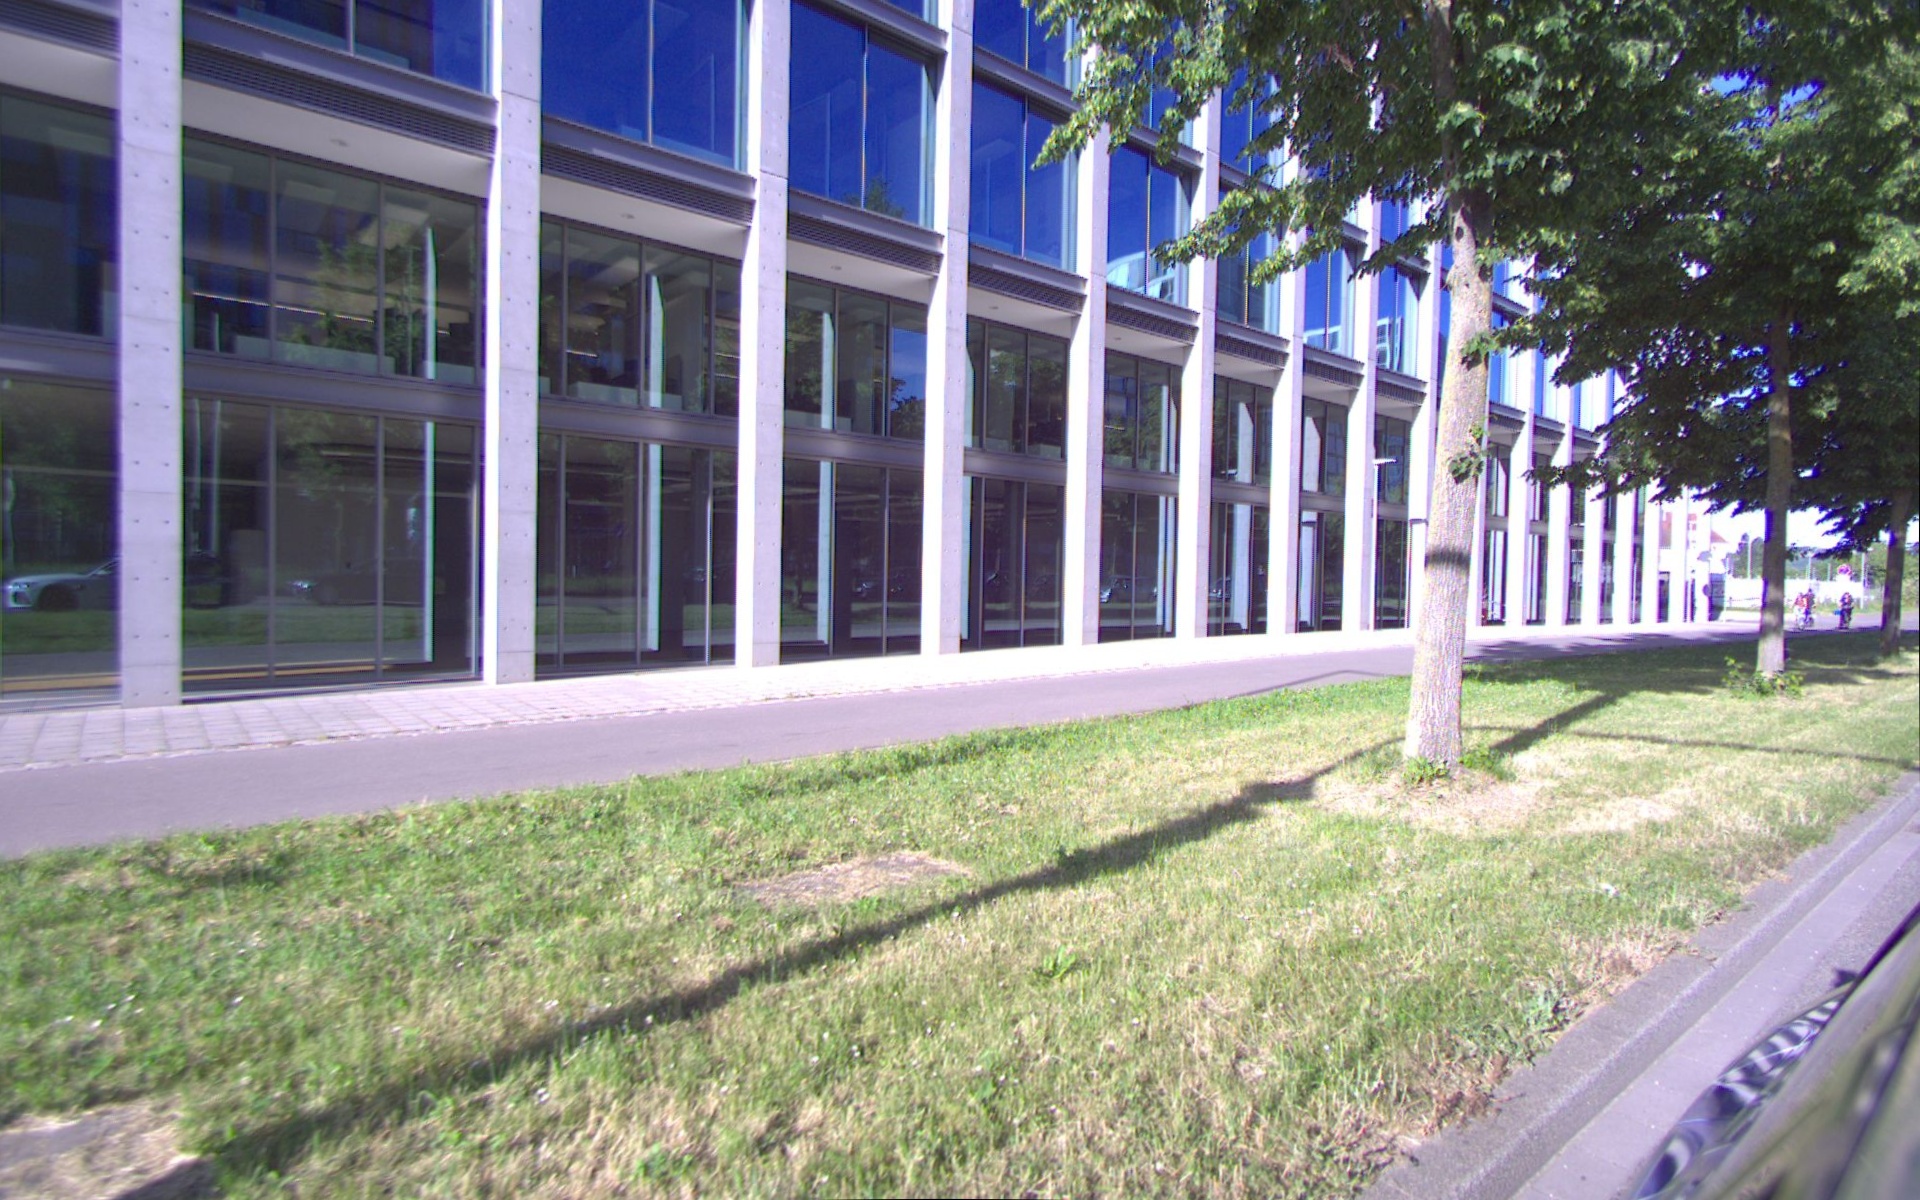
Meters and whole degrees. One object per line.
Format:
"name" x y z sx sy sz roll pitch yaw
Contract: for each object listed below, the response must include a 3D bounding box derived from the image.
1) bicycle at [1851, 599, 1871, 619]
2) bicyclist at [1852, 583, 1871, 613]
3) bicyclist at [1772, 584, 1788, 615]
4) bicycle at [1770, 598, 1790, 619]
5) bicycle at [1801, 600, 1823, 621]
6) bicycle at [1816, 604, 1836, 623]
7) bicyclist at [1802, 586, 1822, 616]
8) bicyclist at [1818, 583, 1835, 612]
"bicycle" 39.925 0.379 44.851 1.321 0.828 0.464 -1 2 -39
"bicyclist" 39.977 -0.102 44.885 0.511 1.305 0.534 -1 1 -39
"bicyclist" 34.842 -0.040 42.980 0.410 1.305 0.448 -1 1 -39
"bicycle" 34.796 0.363 42.938 1.296 0.828 0.415 -1 2 -39
"bicycle" 35.577 0.448 42.239 1.321 0.828 0.464 -1 2 -39
"bicycle" 39.510 0.623 46.164 1.321 0.828 0.464 -1 2 -39
"bicyclist" 35.564 0.017 42.238 0.498 1.232 0.534 -1 1 -39
"bicyclist" 39.536 -0.138 46.177 0.449 1.305 0.534 -1 1 -39
